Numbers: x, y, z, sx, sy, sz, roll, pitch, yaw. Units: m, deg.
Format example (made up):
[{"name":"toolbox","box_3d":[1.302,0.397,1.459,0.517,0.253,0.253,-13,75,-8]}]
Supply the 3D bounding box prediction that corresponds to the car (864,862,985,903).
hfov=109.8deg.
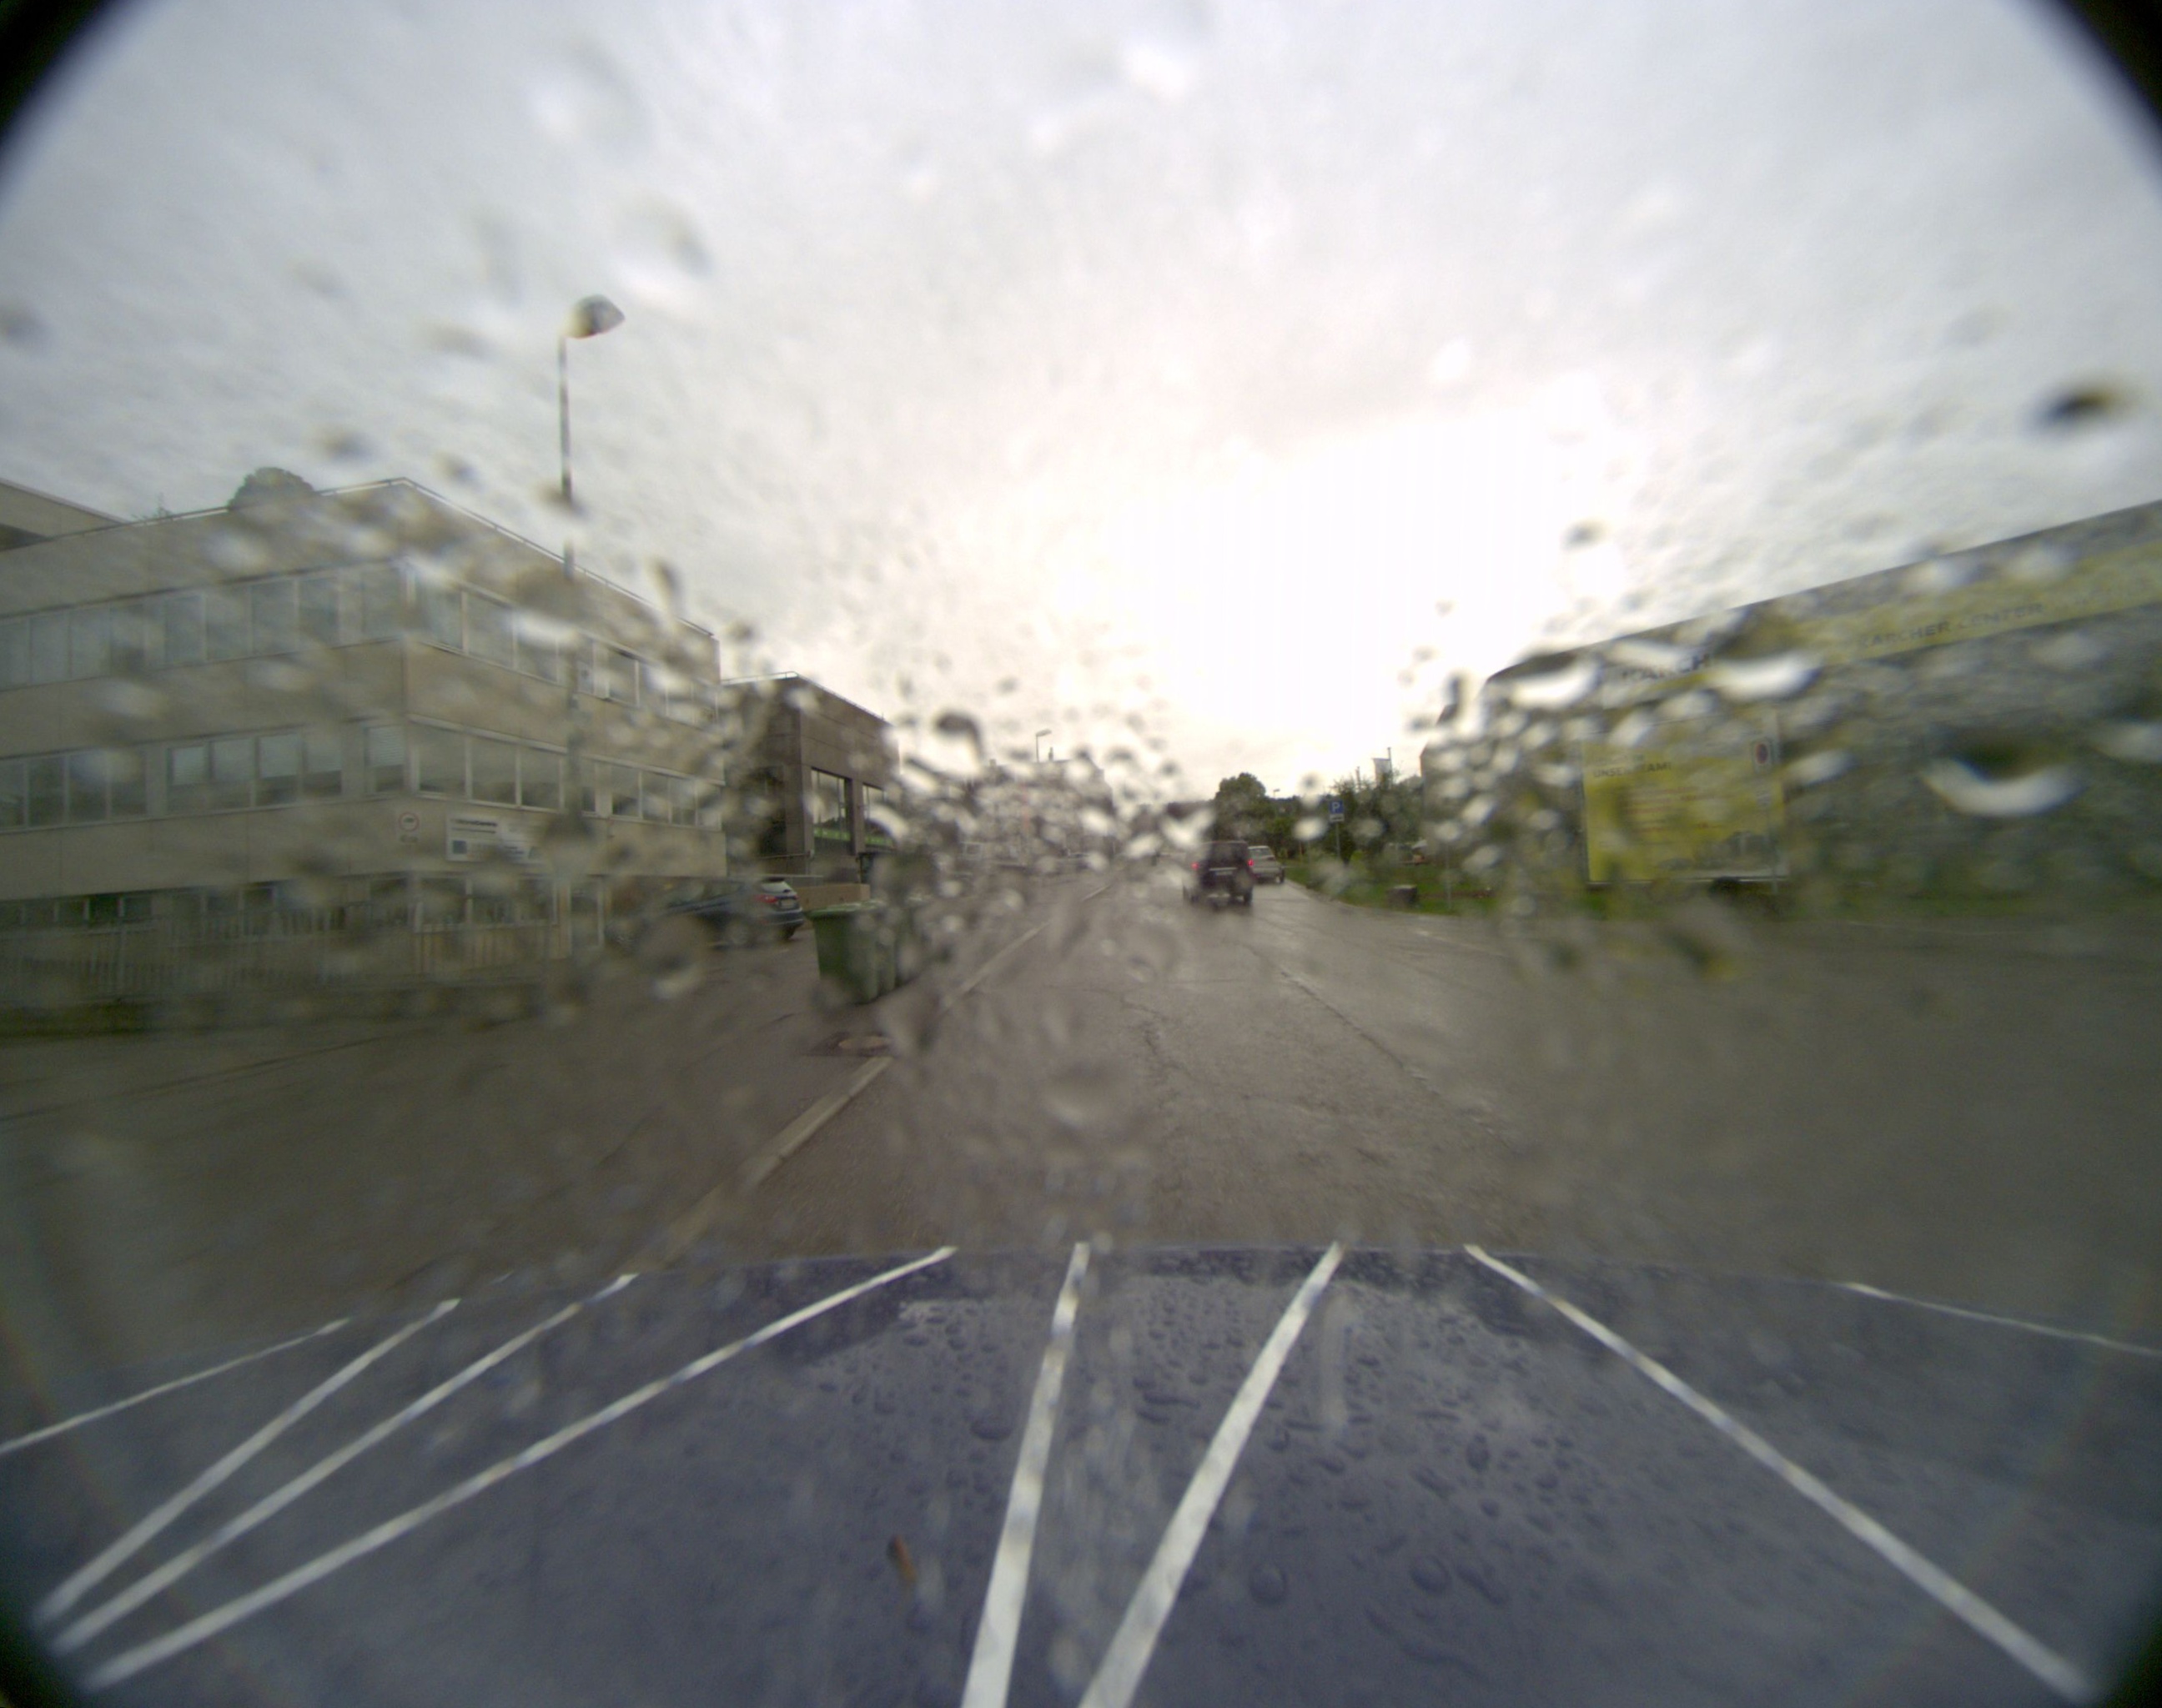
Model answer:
[{"name":"car","box_3d":[-6.621,1.212,32.434,4.619,1.488,1.942,-2,0,8]}]

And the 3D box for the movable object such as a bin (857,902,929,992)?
[{"name":"movable object such as a bin","box_3d":[-2.476,1.215,10.060,0.736,1.084,0.594,-2,1,3]}]

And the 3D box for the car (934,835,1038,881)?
[{"name":"car","box_3d":[-5.176,0.223,41.810,5.148,2.280,2.204,-3,0,10]}]

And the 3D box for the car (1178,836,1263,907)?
[{"name":"car","box_3d":[4.356,0.507,24.408,2.067,2.002,4.512,-3,0,3]}]

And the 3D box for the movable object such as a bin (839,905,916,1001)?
[{"name":"movable object such as a bin","box_3d":[-2.516,1.212,9.441,0.736,1.084,0.594,-2,1,3]}]

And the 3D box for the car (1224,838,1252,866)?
[{"name":"car","box_3d":[12.483,-0.157,60.204,1.996,2.002,4.004,-2,0,14]}]

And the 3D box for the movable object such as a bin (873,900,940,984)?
[{"name":"movable object such as a bin","box_3d":[-2.442,1.219,10.686,0.736,1.084,0.594,-2,1,3]}]

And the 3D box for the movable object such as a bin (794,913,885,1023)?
[{"name":"movable object such as a bin","box_3d":[-2.591,1.210,8.203,0.736,1.084,0.594,-2,1,3]}]

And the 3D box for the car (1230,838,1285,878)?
[{"name":"car","box_3d":[9.092,0.198,39.409,1.998,1.902,4.001,-2,0,2]}]

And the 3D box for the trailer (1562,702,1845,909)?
[{"name":"trailer","box_3d":[14.148,-0.920,17.461,2.393,4.065,4.687,-3,1,-43]}]

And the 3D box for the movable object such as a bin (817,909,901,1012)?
[{"name":"movable object such as a bin","box_3d":[-2.563,1.219,8.821,0.736,1.084,0.594,-2,1,3]}]

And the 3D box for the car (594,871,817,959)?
[{"name":"car","box_3d":[-7.616,1.219,15.578,3.747,1.531,1.632,-3,0,7]}]
